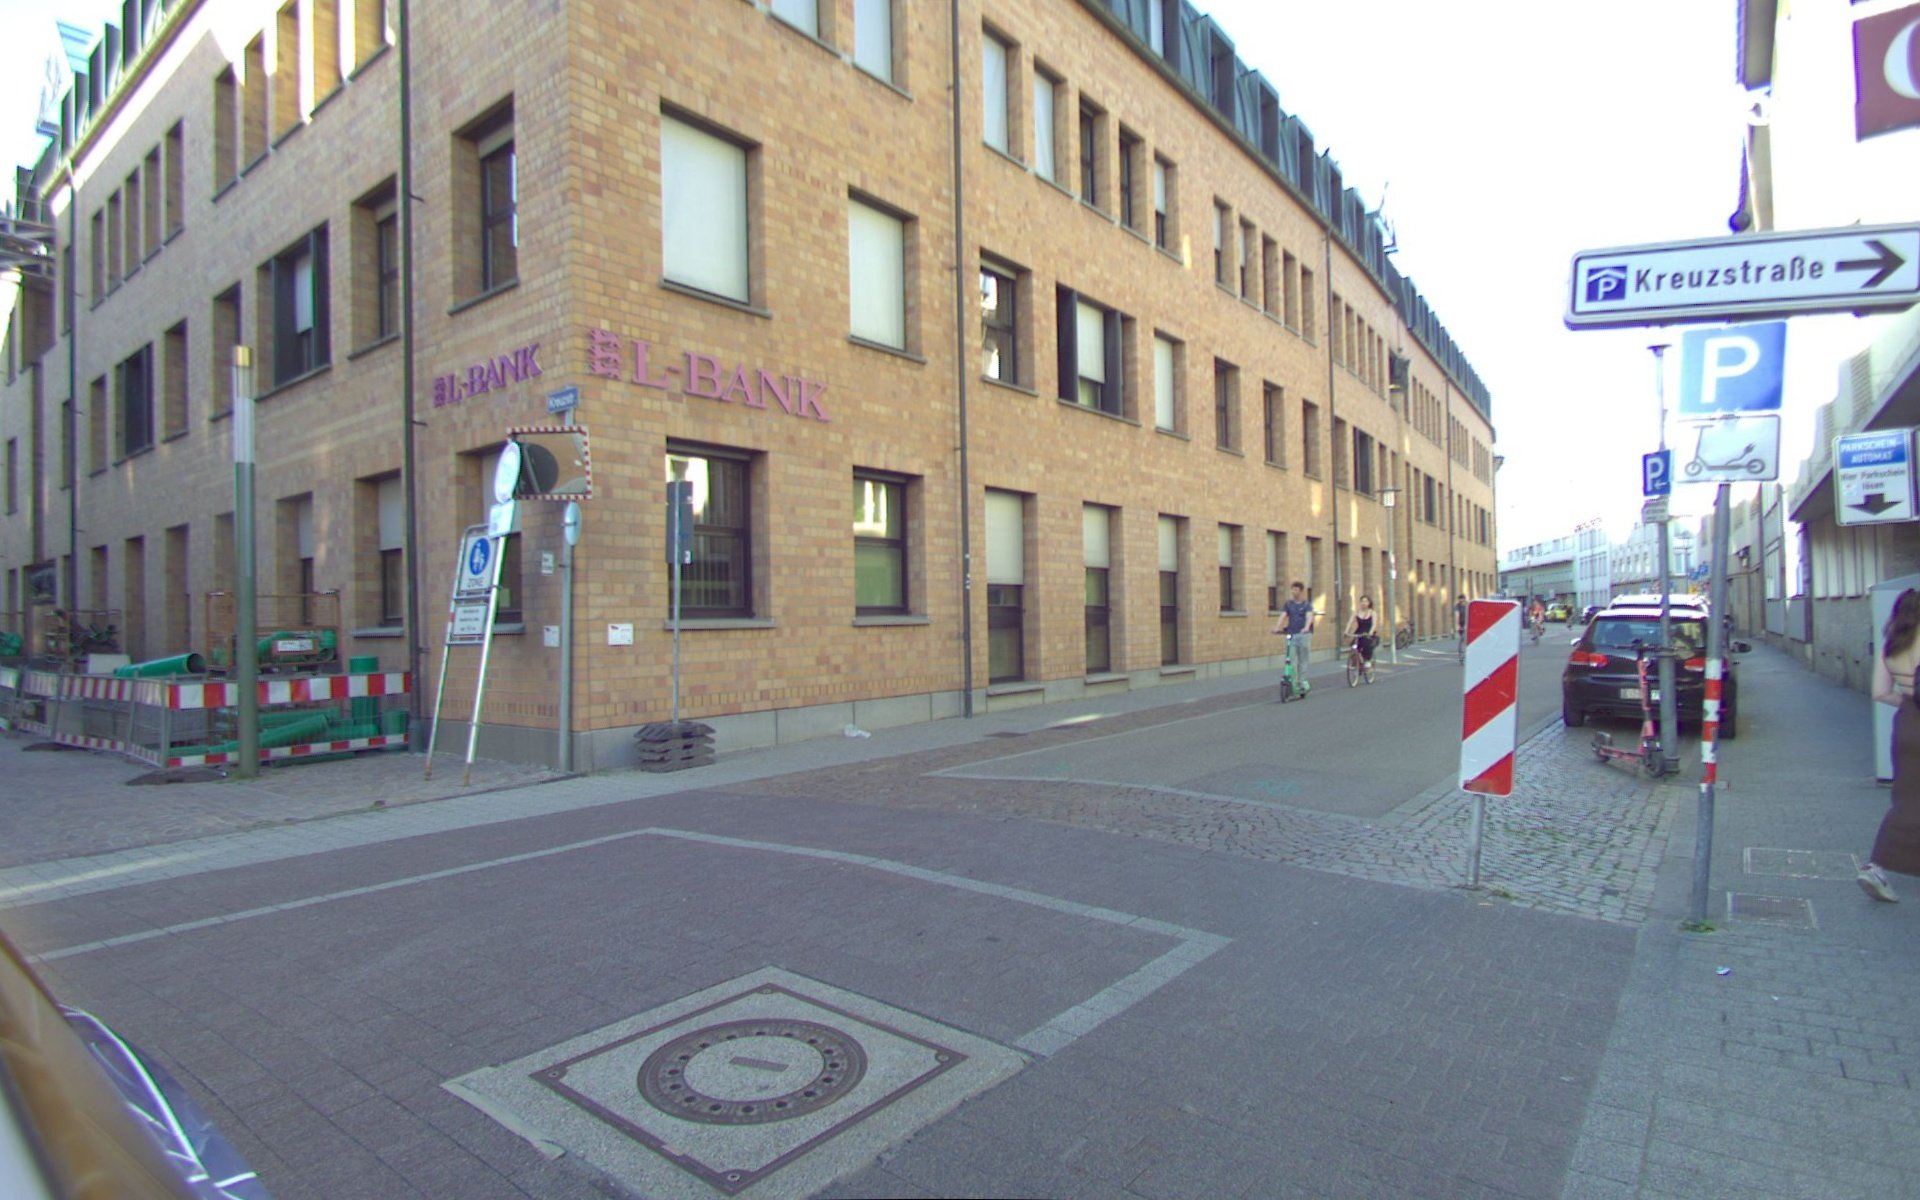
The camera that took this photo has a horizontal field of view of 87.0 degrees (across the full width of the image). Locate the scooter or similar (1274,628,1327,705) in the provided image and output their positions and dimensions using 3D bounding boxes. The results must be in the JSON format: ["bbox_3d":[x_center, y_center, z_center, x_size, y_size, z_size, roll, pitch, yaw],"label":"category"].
[{"bbox_3d":[5.531,1.069,16.418,0.337,1.195,1.262,-5,-4,39],"label":"scooter or similar"}]

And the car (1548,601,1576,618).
[{"bbox_3d":[61.073,0.973,102.659,1.923,1.663,3.806,-1,-1,23],"label":"car"}]

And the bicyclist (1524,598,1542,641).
[{"bbox_3d":[20.988,0.714,37.067,0.427,1.509,0.865,-4,-3,35],"label":"bicyclist"}]

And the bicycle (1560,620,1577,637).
[{"bbox_3d":[40.144,1.878,66.821,0.701,1.112,1.812,-5,-4,25],"label":"bicycle"}]

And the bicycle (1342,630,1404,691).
[{"bbox_3d":[7.897,1.134,19.323,0.590,1.060,1.778,-5,-3,37],"label":"bicycle"}]

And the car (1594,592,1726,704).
[{"bbox_3d":[12.033,0.730,17.309,1.671,1.674,4.030,1,0,37],"label":"car"}]

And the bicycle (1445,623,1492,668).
[{"bbox_3d":[12.639,1.116,25.123,0.573,1.059,1.812,-5,-4,39],"label":"bicycle"}]

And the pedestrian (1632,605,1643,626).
[{"bbox_3d":[47.829,1.106,71.455,0.569,1.490,0.469,-2,-1,30],"label":"pedestrian"}]

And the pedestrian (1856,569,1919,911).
[{"bbox_3d":[4.728,0.650,4.865,0.510,1.592,0.526,-6,-4,42],"label":"pedestrian"}]

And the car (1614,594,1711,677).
[{"bbox_3d":[16.173,0.749,23.219,1.671,1.717,3.962,1,0,37],"label":"car"}]

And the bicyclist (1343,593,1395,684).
[{"bbox_3d":[7.852,0.736,19.407,0.619,1.679,0.813,-5,-4,38],"label":"bicyclist"}]

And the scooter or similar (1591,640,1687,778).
[{"bbox_3d":[6.219,0.970,9.296,0.205,1.193,0.883,-1,-1,-3],"label":"scooter or similar"}]

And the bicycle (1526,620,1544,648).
[{"bbox_3d":[20.983,1.236,36.947,0.435,0.964,1.572,-2,-2,34],"label":"bicycle"}]

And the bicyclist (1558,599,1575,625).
[{"bbox_3d":[40.122,0.830,66.990,0.769,1.668,0.949,-5,-3,25],"label":"bicyclist"}]

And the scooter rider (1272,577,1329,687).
[{"bbox_3d":[5.560,0.529,16.519,0.648,1.739,0.693,-3,-3,40],"label":"scooter rider"}]

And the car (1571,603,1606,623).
[{"bbox_3d":[54.499,1.105,87.779,1.923,1.663,3.806,-2,-1,23],"label":"car"}]

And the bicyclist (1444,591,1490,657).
[{"bbox_3d":[12.585,0.586,25.127,0.649,1.570,1.094,-6,-4,40],"label":"bicyclist"}]

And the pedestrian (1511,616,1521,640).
[{"bbox_3d":[36.405,1.824,66.267,0.542,1.556,0.400,-1,-1,36],"label":"pedestrian"}]

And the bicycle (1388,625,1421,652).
[{"bbox_3d":[15.885,1.372,36.137,0.641,0.888,2.527,-1,-1,34],"label":"bicycle"}]

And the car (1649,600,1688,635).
[{"bbox_3d":[38.566,0.931,55.089,1.690,1.789,3.612,1,0,35],"label":"car"}]

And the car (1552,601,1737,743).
[{"bbox_3d":[8.843,0.787,12.987,1.738,1.497,3.764,1,1,37],"label":"car"}]
